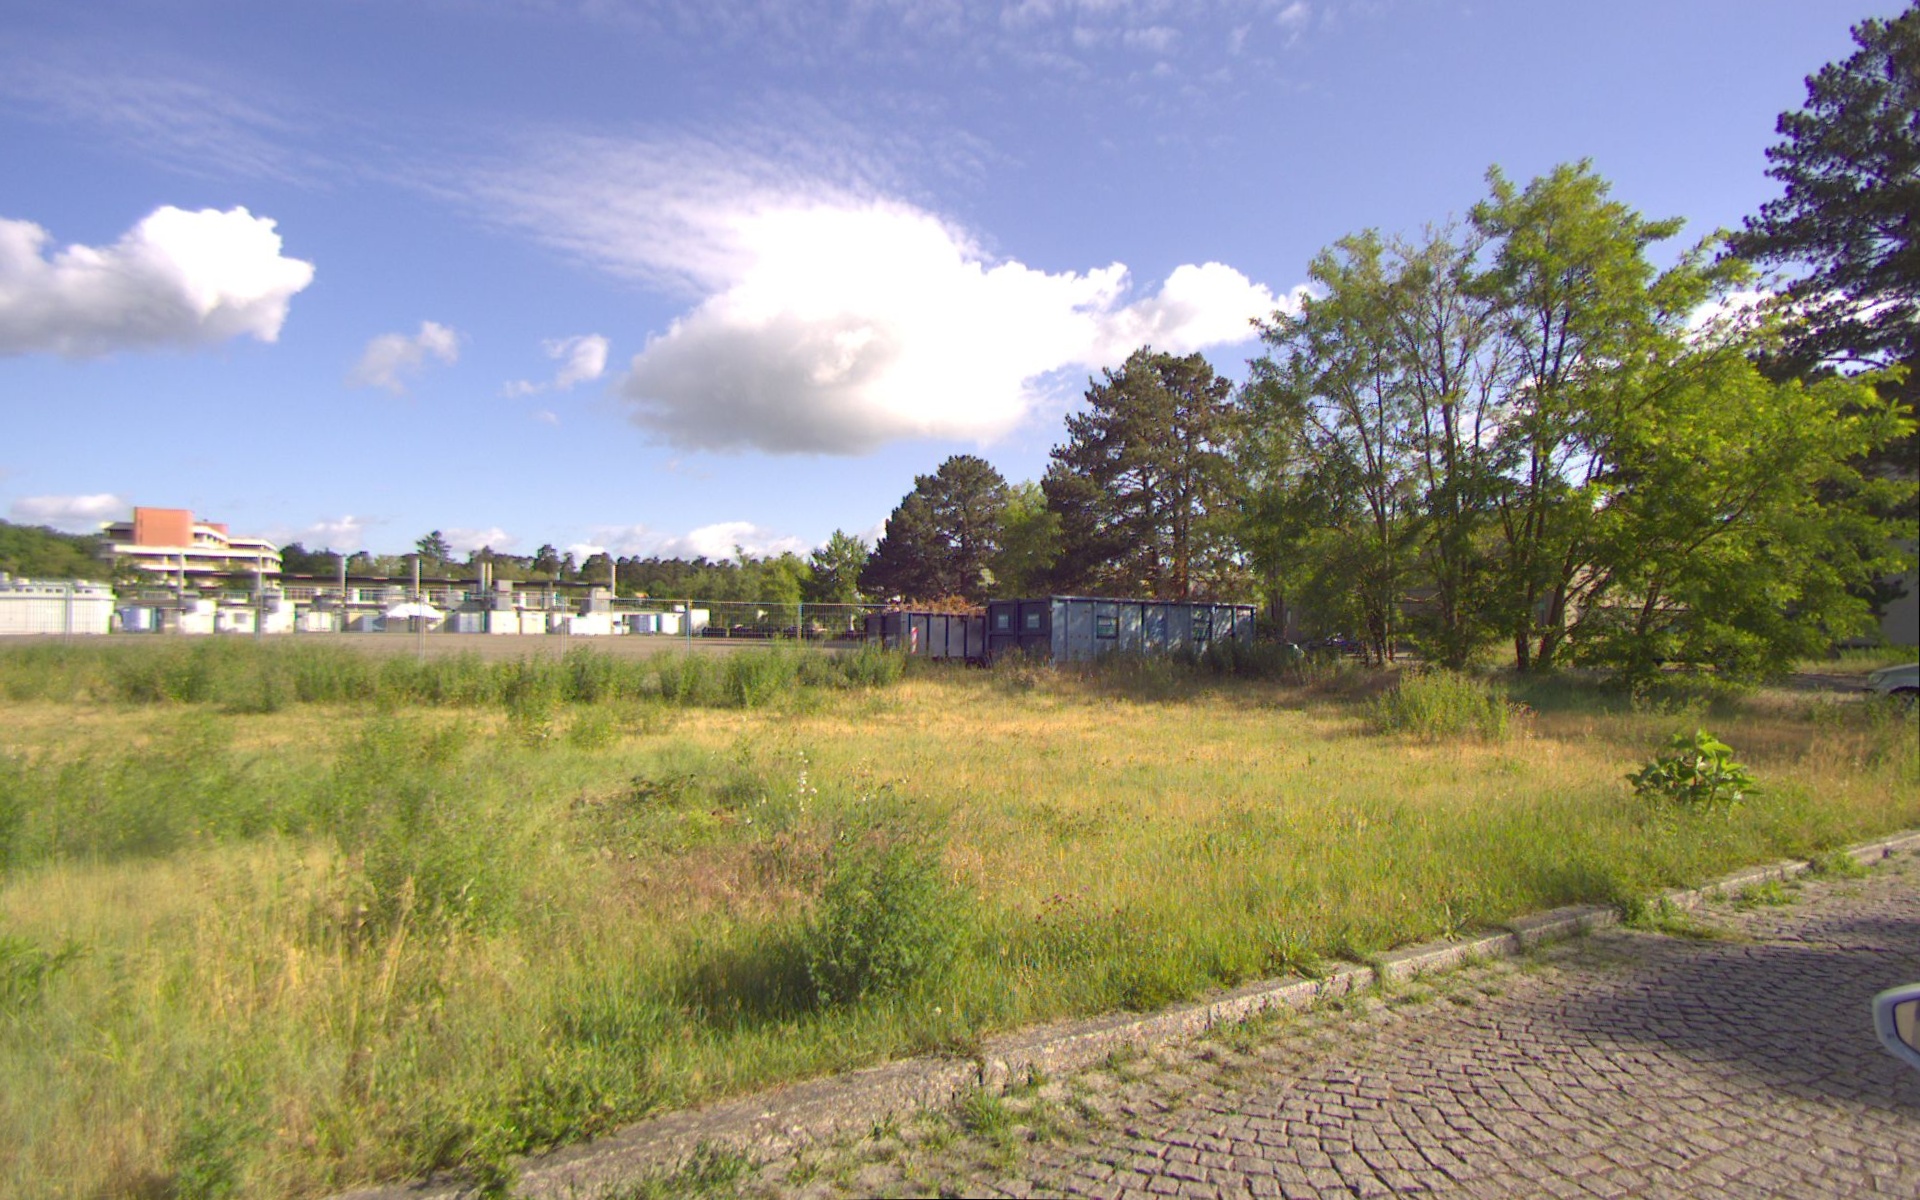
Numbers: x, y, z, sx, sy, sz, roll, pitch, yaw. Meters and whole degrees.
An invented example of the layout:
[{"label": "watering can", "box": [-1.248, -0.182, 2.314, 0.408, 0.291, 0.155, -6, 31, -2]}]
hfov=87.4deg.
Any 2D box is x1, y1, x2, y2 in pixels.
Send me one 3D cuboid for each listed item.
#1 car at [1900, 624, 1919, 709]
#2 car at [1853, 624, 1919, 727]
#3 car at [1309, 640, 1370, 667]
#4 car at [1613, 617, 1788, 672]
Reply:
[{"label": "car", "box": [18.280, 1.243, 16.424, 1.671, 1.464, 3.917, 1, 2, -30]}, {"label": "car", "box": [16.043, 1.217, 15.033, 1.680, 1.548, 3.665, 1, 1, -32]}, {"label": "car", "box": [26.499, 3.714, 70.170, 3.951, 1.802, 1.858, 1, -2, -28]}, {"label": "car", "box": [23.747, 1.397, 32.378, 1.985, 1.630, 4.127, 1, -2, -28]}]
